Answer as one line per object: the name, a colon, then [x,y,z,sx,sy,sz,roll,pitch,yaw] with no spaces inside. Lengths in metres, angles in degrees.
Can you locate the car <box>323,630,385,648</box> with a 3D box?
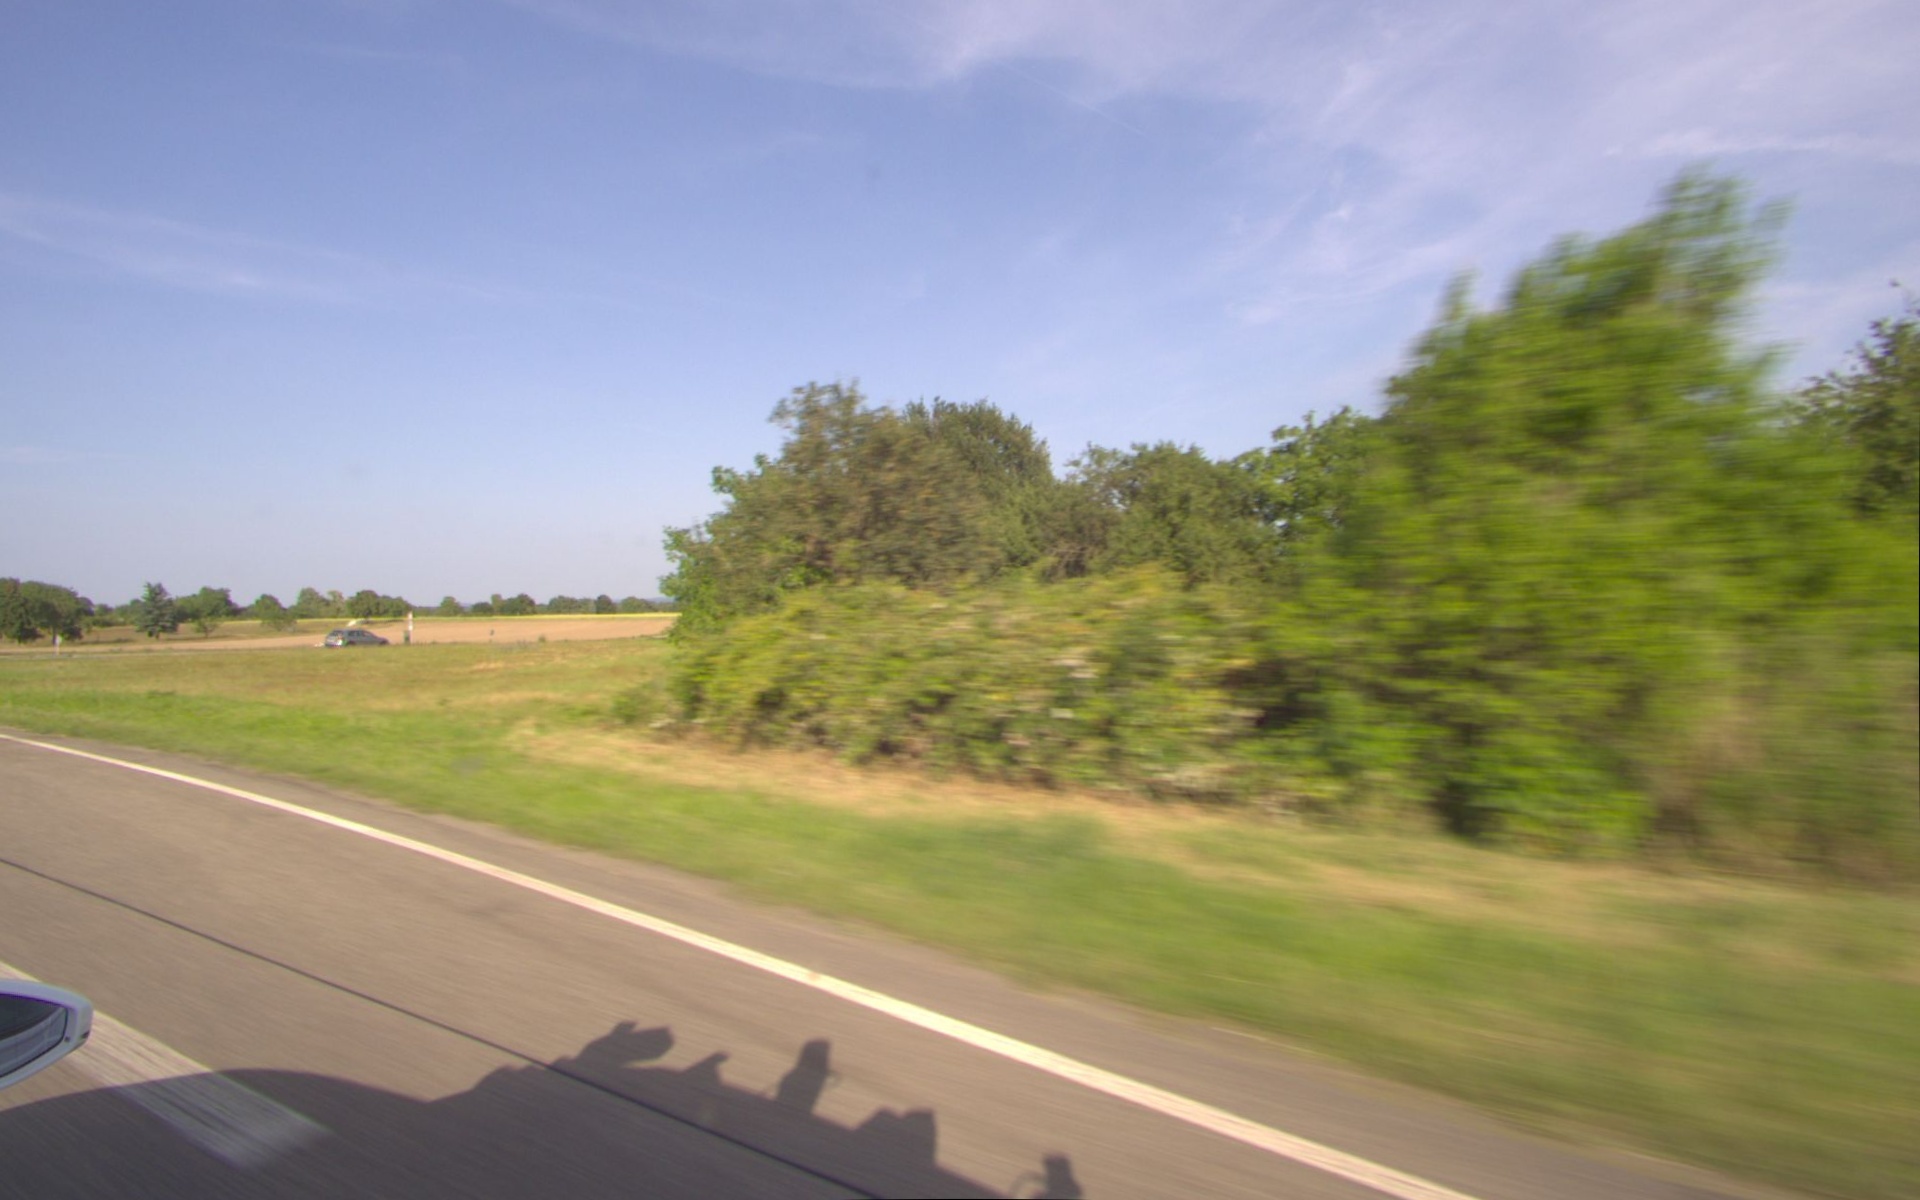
car: [-43.953,2.813,72.716,1.537,1.235,3.630,-1,-1,24]
